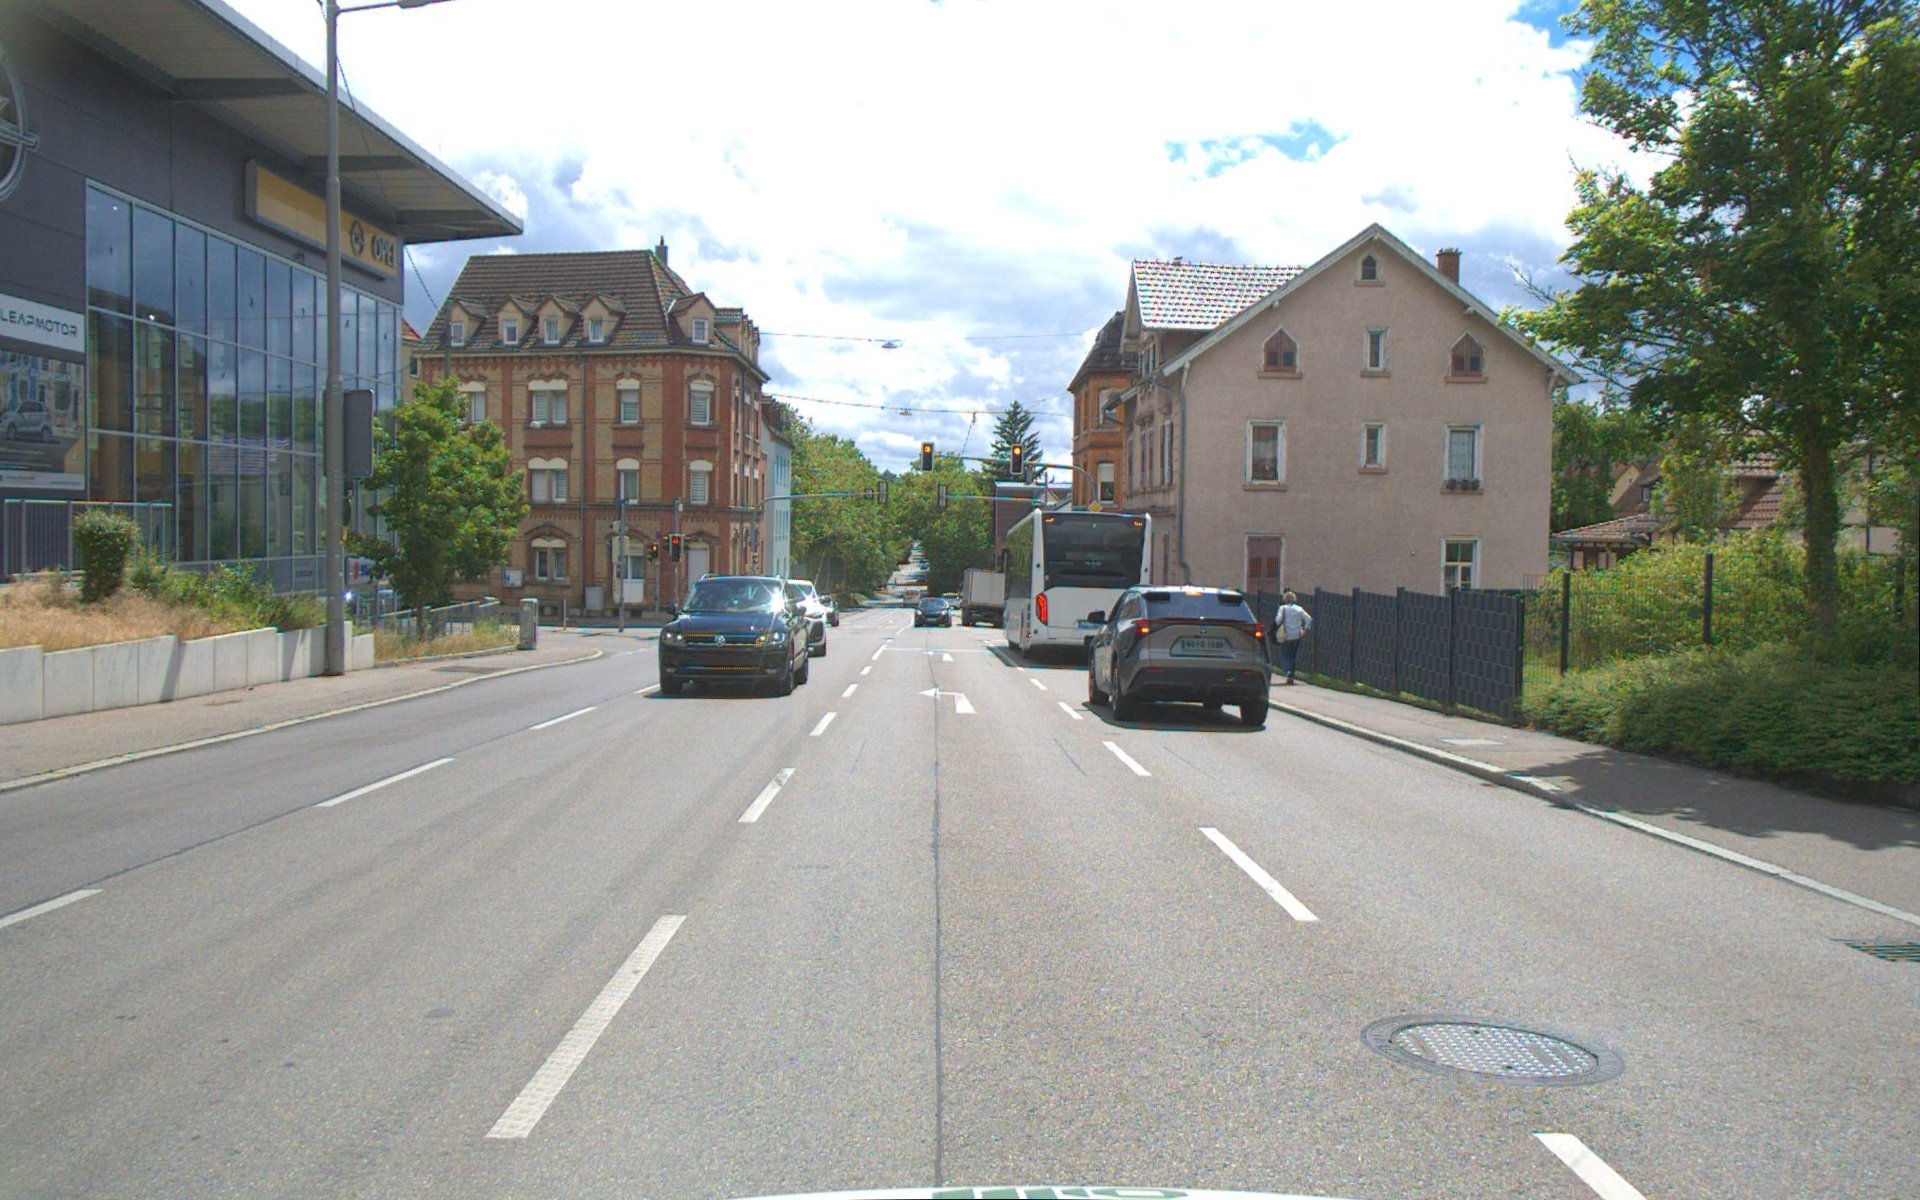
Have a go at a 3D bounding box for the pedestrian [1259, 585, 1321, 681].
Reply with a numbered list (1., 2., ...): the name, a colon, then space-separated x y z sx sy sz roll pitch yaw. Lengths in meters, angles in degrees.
1. pedestrian: 5.701 0.551 28.630 0.796 1.609 1.069 -1 0 -1

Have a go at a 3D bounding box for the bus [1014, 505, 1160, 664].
1. bus: 2.822 -0.465 40.237 2.744 3.253 12.198 1 1 1

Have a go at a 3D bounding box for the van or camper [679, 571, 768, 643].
1. van or camper: -6.775 0.174 47.880 1.930 1.948 5.127 1 0 -2

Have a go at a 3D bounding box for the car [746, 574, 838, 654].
1. car: -3.738 0.284 37.415 1.826 1.685 4.376 1 0 -3

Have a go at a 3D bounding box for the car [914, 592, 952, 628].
1. car: -1.354 0.451 81.774 1.826 1.695 4.258 0 1 -2

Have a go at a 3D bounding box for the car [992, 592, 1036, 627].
1. car: 2.560 0.445 79.810 1.891 1.610 4.207 -1 0 -1

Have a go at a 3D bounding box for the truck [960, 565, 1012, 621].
1. truck: 1.435 -0.435 97.477 2.613 3.162 9.032 0 0 -2

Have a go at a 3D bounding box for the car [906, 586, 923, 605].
1. car: -4.850 -0.497 175.550 1.796 1.914 3.999 0 2 -2

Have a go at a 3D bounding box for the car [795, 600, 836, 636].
1. car: -7.226 0.898 83.027 1.826 1.695 4.258 0 1 -2

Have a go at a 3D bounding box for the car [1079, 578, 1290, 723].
1. car: 2.688 0.544 20.808 1.892 1.610 4.206 1 1 -3

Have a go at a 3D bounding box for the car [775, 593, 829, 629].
1. car: -6.237 0.407 65.532 1.826 1.342 4.258 0 1 -2

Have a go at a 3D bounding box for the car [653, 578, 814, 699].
1. car: -3.150 0.485 23.715 1.826 1.567 4.106 1 0 -2
